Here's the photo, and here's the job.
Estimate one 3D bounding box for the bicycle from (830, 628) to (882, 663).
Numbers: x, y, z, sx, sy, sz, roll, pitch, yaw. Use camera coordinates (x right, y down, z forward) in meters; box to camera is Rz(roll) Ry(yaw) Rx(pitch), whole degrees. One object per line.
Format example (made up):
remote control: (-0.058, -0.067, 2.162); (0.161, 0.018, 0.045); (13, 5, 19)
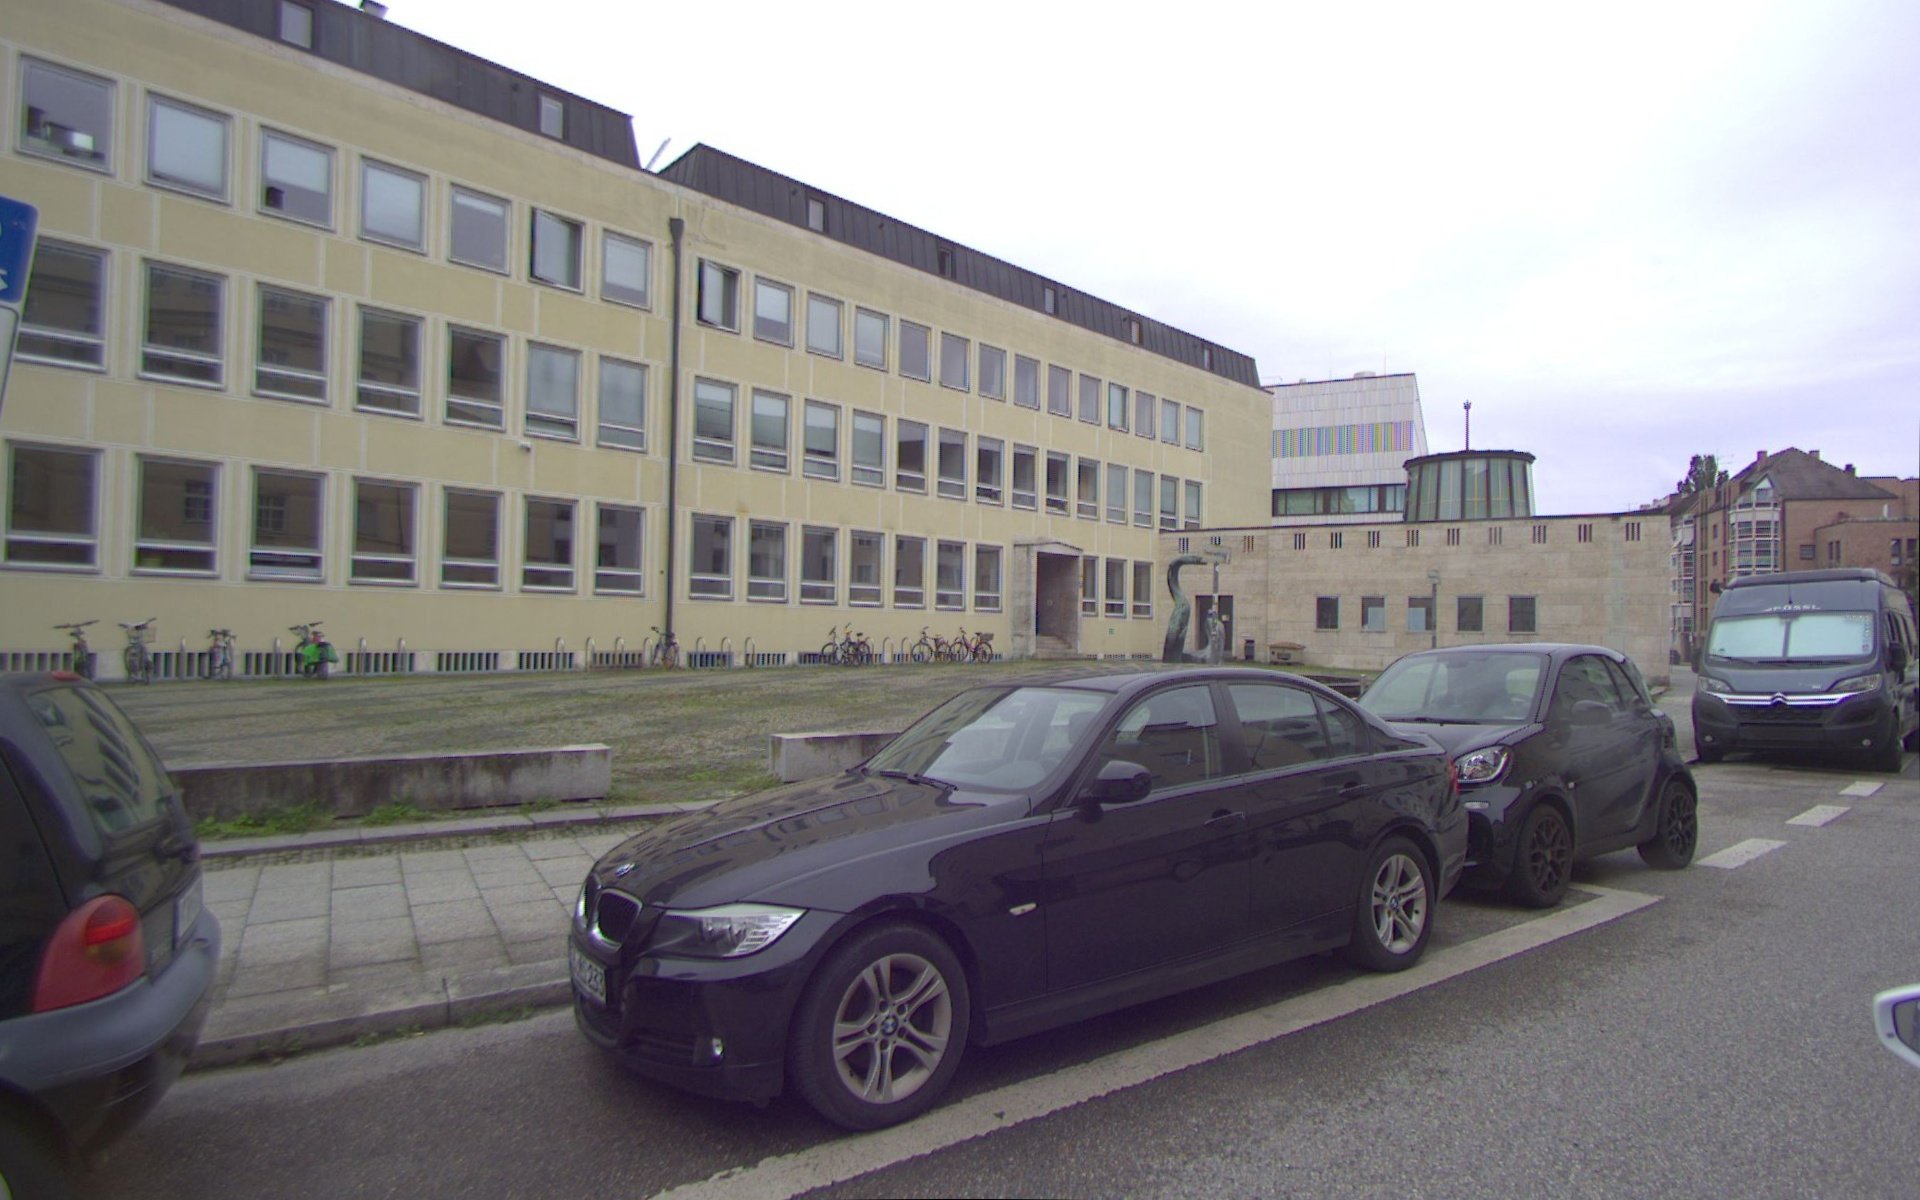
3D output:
bicycle: (-3.218, 1.386, 30.818); (0.620, 1.028, 1.931); (2, -2, -39)

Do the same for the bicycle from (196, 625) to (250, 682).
bicycle: (-14.357, 1.019, 19.554); (0.621, 1.028, 1.928); (2, -2, -42)

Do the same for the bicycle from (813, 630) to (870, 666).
bicycle: (-3.554, 1.419, 29.953); (1.926, 1.028, 0.622); (0, -2, 45)

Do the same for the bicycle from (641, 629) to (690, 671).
bicycle: (-7.694, 1.280, 26.215); (0.619, 1.028, 1.934); (2, -2, -35)

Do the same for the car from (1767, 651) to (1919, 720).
car: (21.241, 1.947, 22.922); (4.003, 1.500, 1.687); (-2, -5, 10)

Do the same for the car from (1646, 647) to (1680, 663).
car: (73.101, 5.687, 104.462); (1.777, 1.492, 4.118); (1, -1, 18)

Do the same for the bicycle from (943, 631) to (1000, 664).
bicycle: (0.376, 1.572, 33.507); (1.924, 1.028, 0.622); (0, -2, 40)

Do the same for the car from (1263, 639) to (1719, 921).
car: (3.735, 1.056, 7.001); (2.949, 1.521, 1.659); (2, -4, -36)

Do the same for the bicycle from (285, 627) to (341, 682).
bicycle: (-13.153, 1.082, 20.400); (0.621, 1.028, 1.928); (2, -2, -42)

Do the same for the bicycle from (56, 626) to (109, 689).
bicycle: (-15.526, 0.990, 17.801); (0.620, 1.028, 1.931); (2, -2, -39)

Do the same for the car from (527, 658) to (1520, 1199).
car: (0.564, 0.986, 4.605); (4.412, 1.424, 1.787); (2, -4, -36)

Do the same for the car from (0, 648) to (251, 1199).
car: (-3.510, 0.833, 2.015); (3.276, 1.472, 1.648); (2, -4, -33)

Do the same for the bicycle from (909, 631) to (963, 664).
bicycle: (-0.785, 1.541, 32.705); (0.621, 1.028, 1.928); (2, -2, -43)

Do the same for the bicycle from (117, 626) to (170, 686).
bicycle: (-15.025, 1.011, 18.467); (0.621, 1.028, 1.928); (2, -2, -42)

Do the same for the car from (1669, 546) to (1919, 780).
car: (12.145, 0.839, 14.371); (5.976, 2.676, 2.143); (2, -3, -44)
